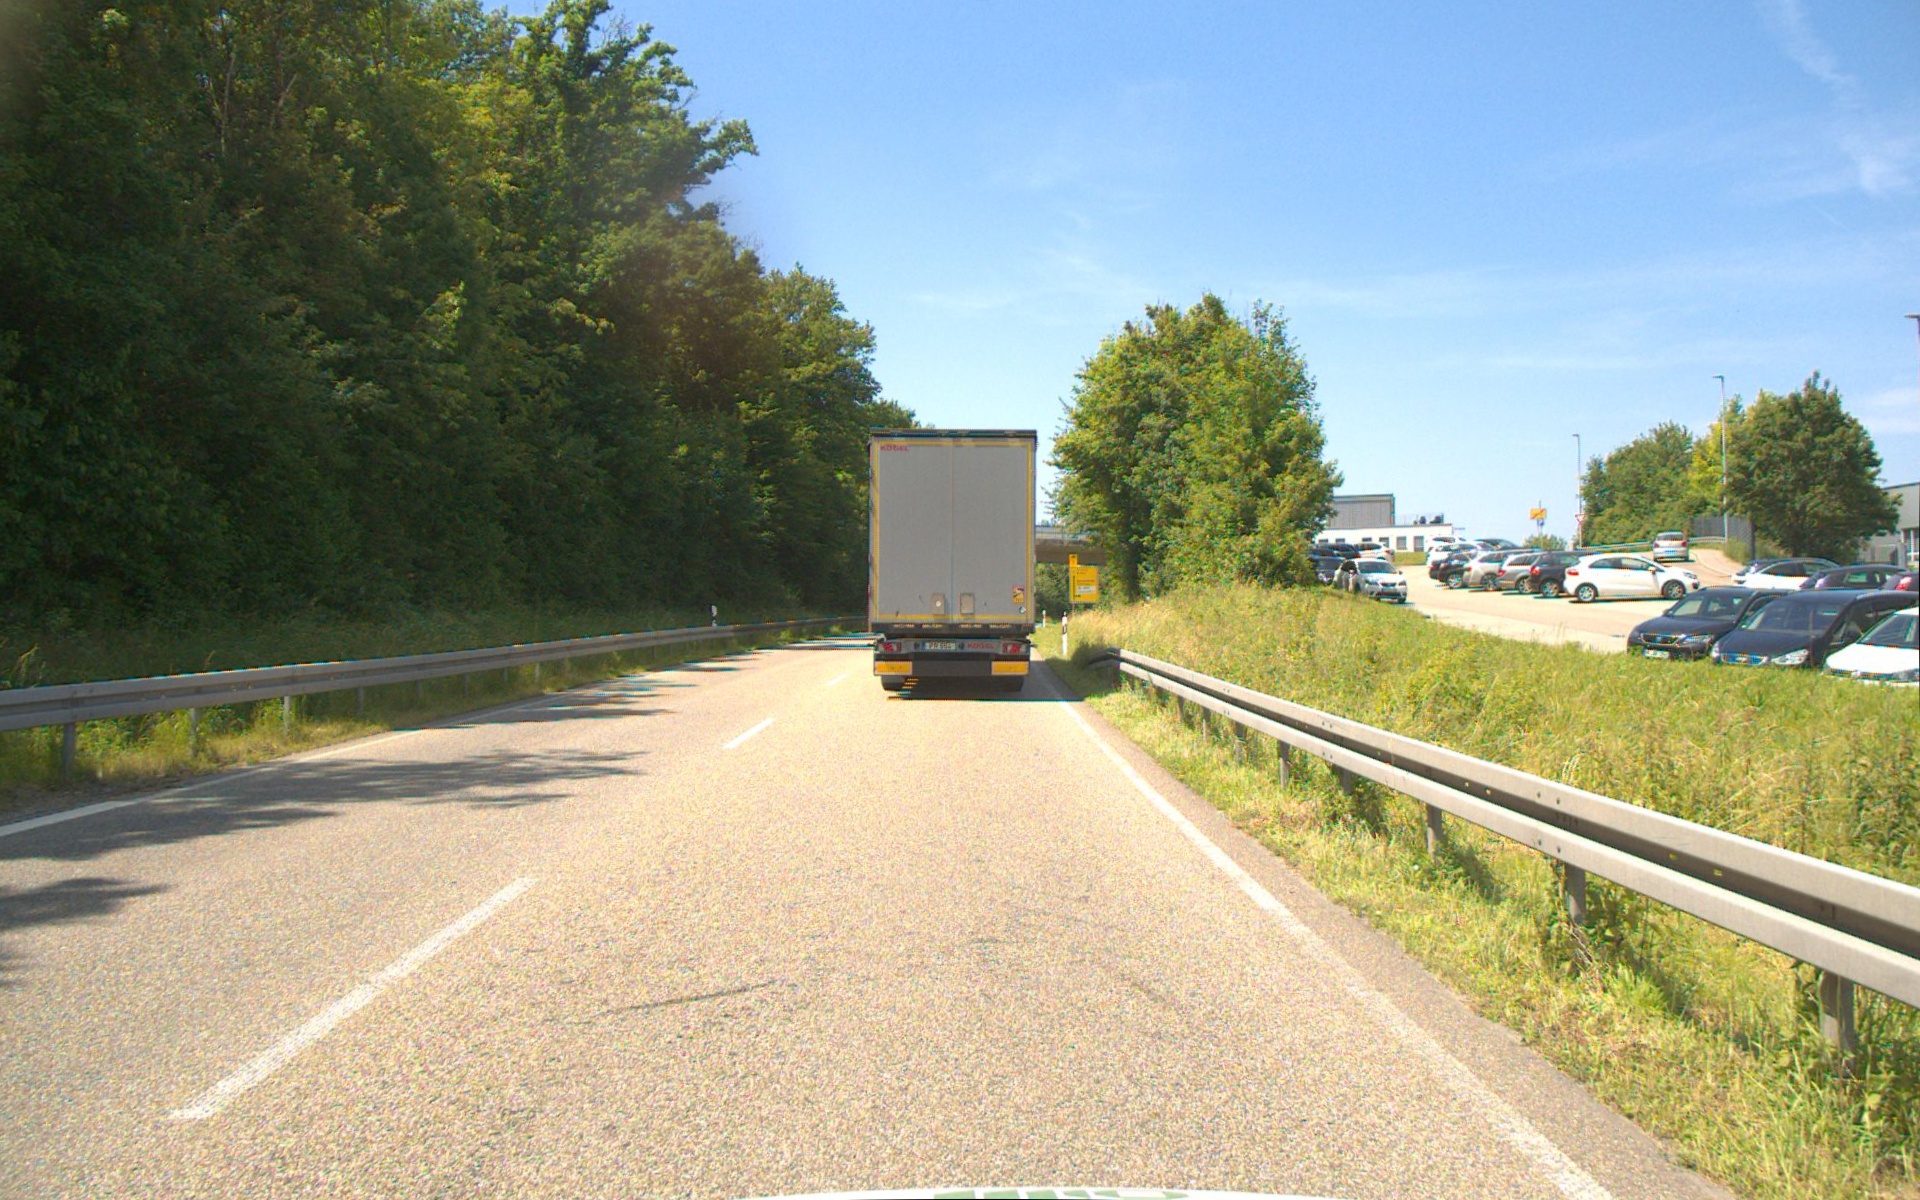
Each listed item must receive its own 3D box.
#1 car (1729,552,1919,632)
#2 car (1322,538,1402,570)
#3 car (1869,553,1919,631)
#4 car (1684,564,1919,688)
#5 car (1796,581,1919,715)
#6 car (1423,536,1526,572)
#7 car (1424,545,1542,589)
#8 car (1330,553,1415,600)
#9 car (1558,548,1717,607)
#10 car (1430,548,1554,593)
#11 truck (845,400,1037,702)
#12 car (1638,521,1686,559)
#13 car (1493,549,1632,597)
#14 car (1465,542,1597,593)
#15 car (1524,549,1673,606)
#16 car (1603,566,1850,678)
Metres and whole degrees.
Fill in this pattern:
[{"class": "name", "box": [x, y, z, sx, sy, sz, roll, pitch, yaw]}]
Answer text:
[{"class": "car", "box": [22.361, -0.227, 42.637, 4.483, 1.656, 1.819, 5, 2, 25]}, {"class": "car", "box": [22.864, -2.638, 94.044, 4.317, 1.714, 1.870, -1, 4, -30]}, {"class": "car", "box": [22.794, -0.017, 36.587, 4.483, 1.656, 1.819, 5, 2, 25]}, {"class": "car", "box": [14.067, 0.446, 27.003, 4.317, 1.714, 1.870, 3, 2, -31]}, {"class": "car", "box": [14.570, 0.745, 24.397, 4.317, 1.714, 1.870, 3, 2, -31]}, {"class": "car", "box": [25.244, -2.259, 81.145, 4.490, 1.657, 1.815, 2, 0, 33]}, {"class": "car", "box": [21.249, -1.349, 67.185, 4.477, 1.657, 1.821, 2, 0, 19]}, {"class": "car", "box": [13.952, -0.814, 56.120, 1.593, 1.376, 3.707, 4, 2, -5]}, {"class": "car", "box": [21.239, -0.728, 52.072, 4.477, 1.657, 1.821, 2, 1, 19]}, {"class": "car", "box": [20.581, -1.147, 64.052, 4.476, 1.657, 1.821, 1, -1, 19]}, {"class": "truck", "box": [-0.352, -0.745, 29.275, 2.808, 4.435, 9.787, 0, 0, -1]}, {"class": "car", "box": [35.099, -2.987, 82.690, 1.772, 1.691, 3.993, 1, 0, 29]}, {"class": "car", "box": [21.036, -0.951, 57.872, 4.476, 1.657, 1.821, 1, 1, 19]}, {"class": "car", "box": [20.992, -1.216, 60.886, 4.477, 1.657, 1.821, 3, 2, 19]}, {"class": "car", "box": [21.086, -0.751, 54.837, 4.477, 1.657, 1.821, 3, 1, 19]}, {"class": "car", "box": [13.955, 0.403, 30.083, 4.317, 1.714, 1.870, 3, 2, -31]}]
